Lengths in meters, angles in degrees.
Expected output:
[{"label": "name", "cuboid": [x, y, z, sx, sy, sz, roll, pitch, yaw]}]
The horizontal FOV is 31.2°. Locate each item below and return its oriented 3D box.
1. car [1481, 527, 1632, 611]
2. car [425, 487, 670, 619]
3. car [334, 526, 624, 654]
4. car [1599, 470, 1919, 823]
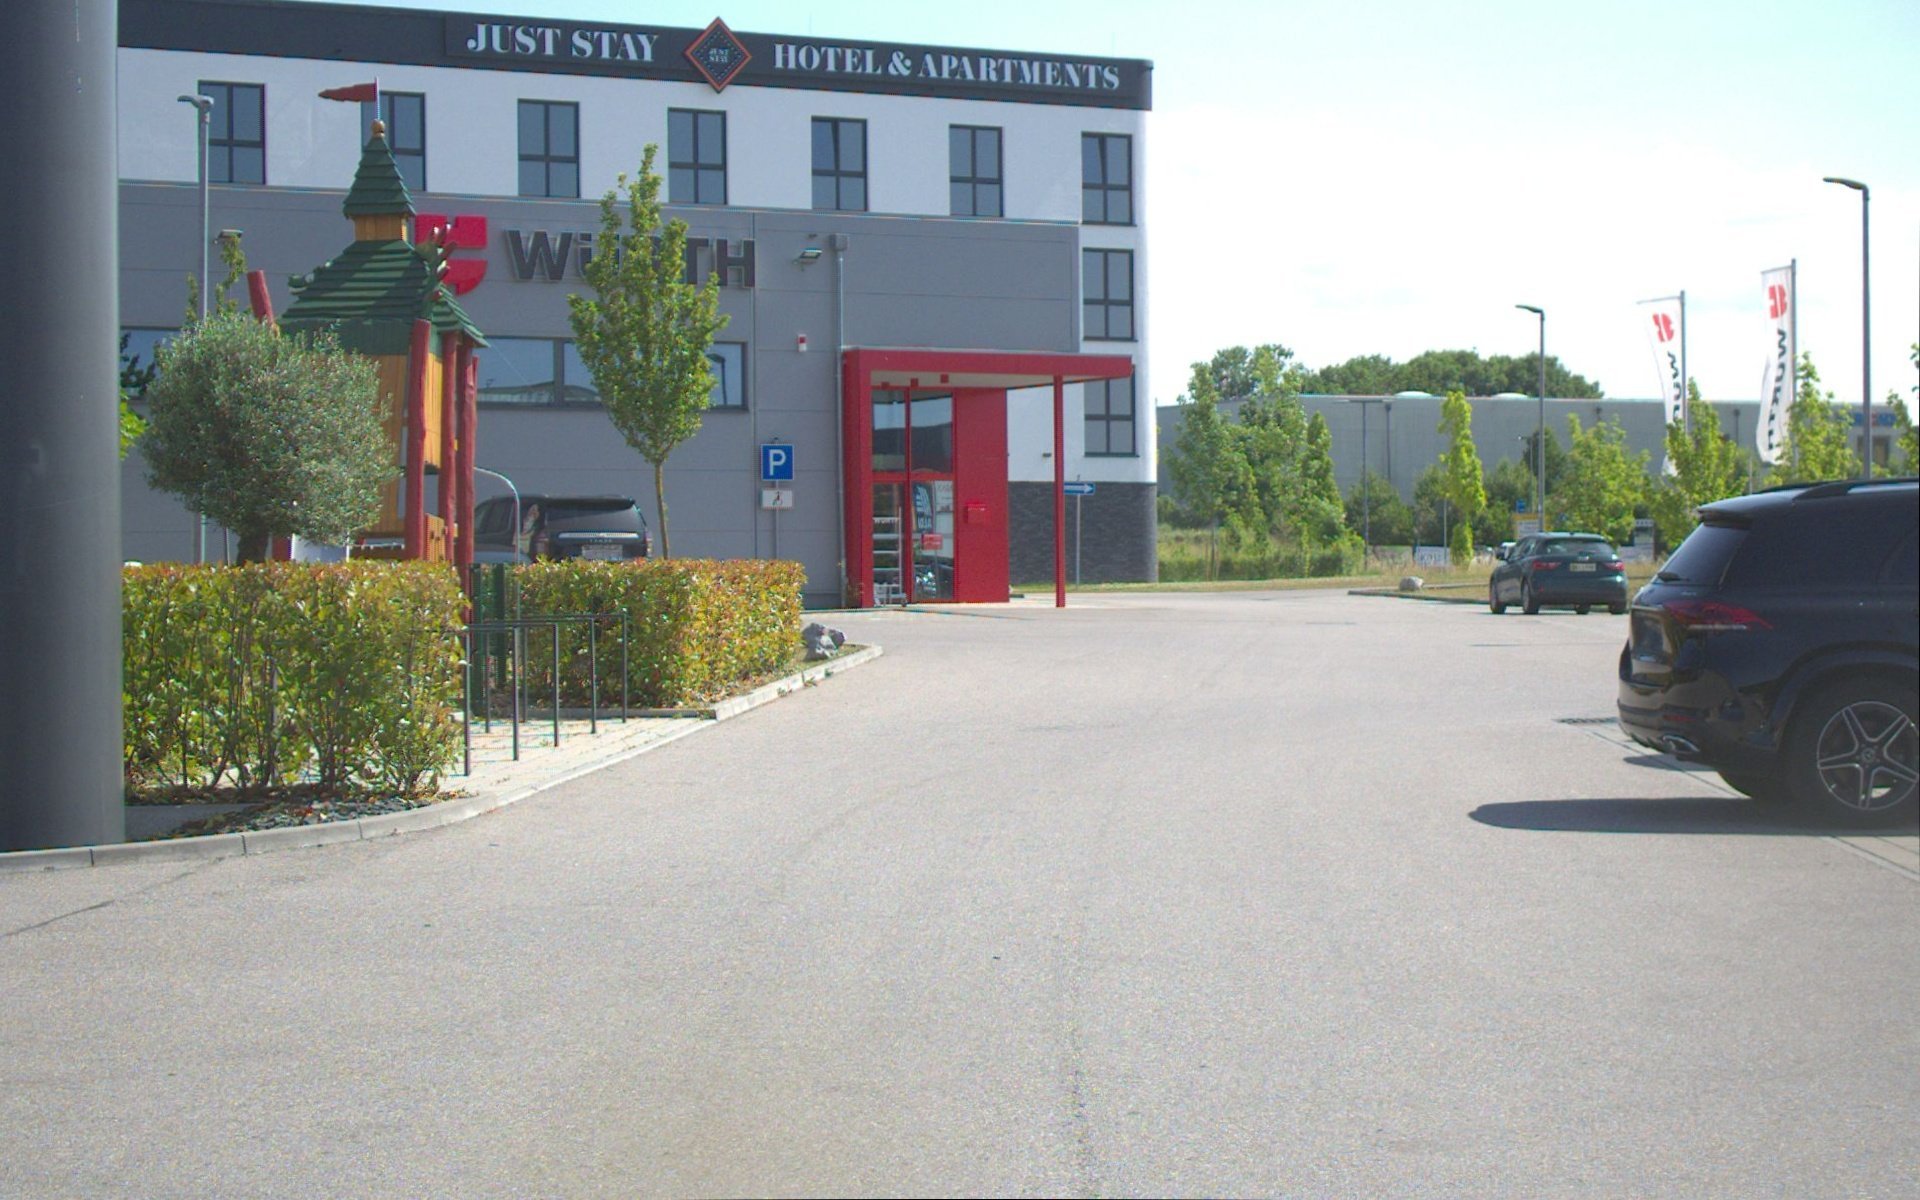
[{"label": "car", "cuboid": [10.345, -0.559, 59.890, 1.698, 1.401, 3.897, 0, 1, -4]}, {"label": "car", "cuboid": [-6.234, -0.748, 51.472, 2.071, 1.874, 4.880, -1, 2, -27]}, {"label": "car", "cuboid": [-5.629, -0.162, 39.806, 1.862, 1.358, 4.377, -1, 2, -29]}, {"label": "car", "cuboid": [5.849, 0.233, 18.125, 4.575, 1.754, 1.896, 1, 1, 0]}]
